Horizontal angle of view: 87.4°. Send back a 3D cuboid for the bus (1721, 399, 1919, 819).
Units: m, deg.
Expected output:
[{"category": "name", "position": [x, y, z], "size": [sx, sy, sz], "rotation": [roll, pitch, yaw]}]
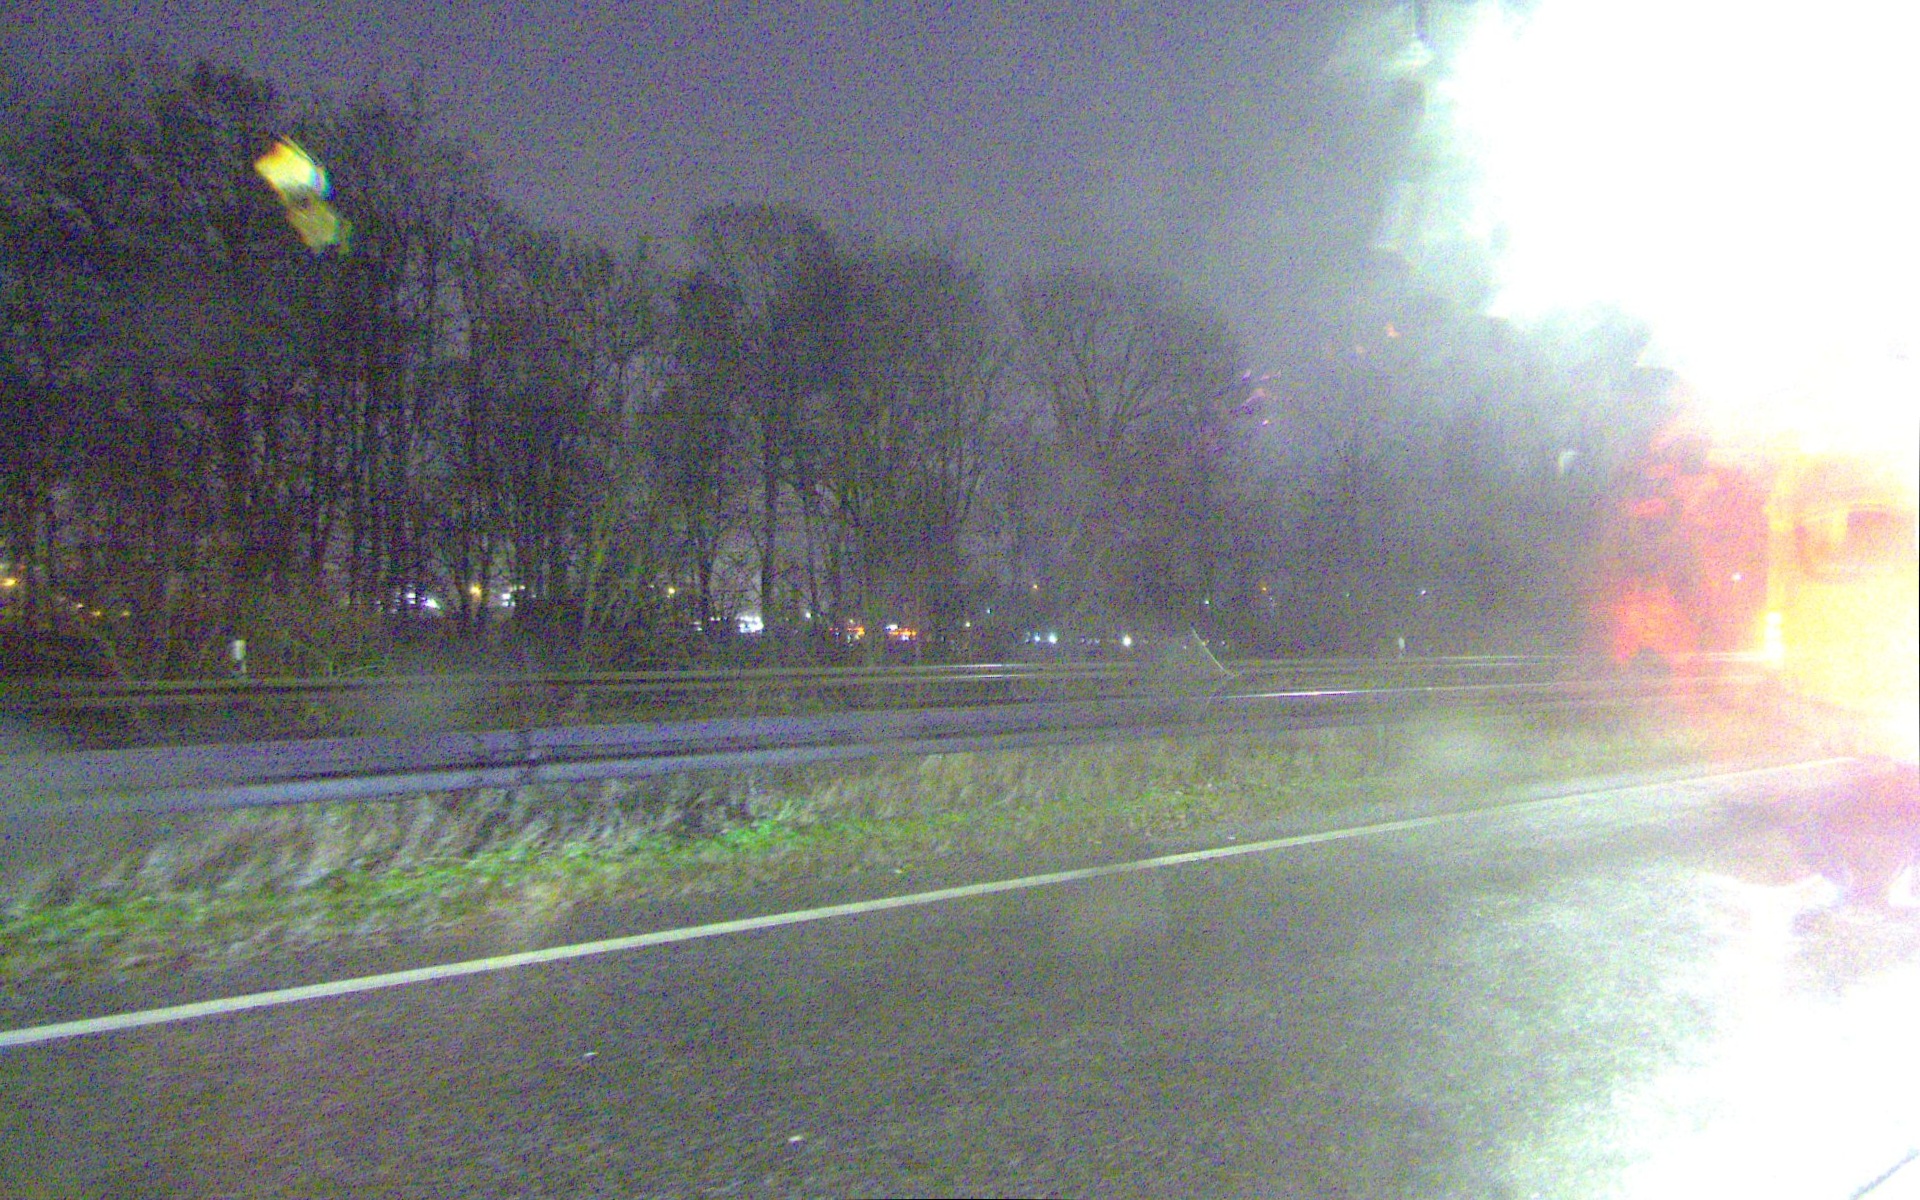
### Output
[{"category": "bus", "position": [10.728, 0.137, 9.503], "size": [8.591, 3.064, 2.800], "rotation": [1, 0, -32]}]
